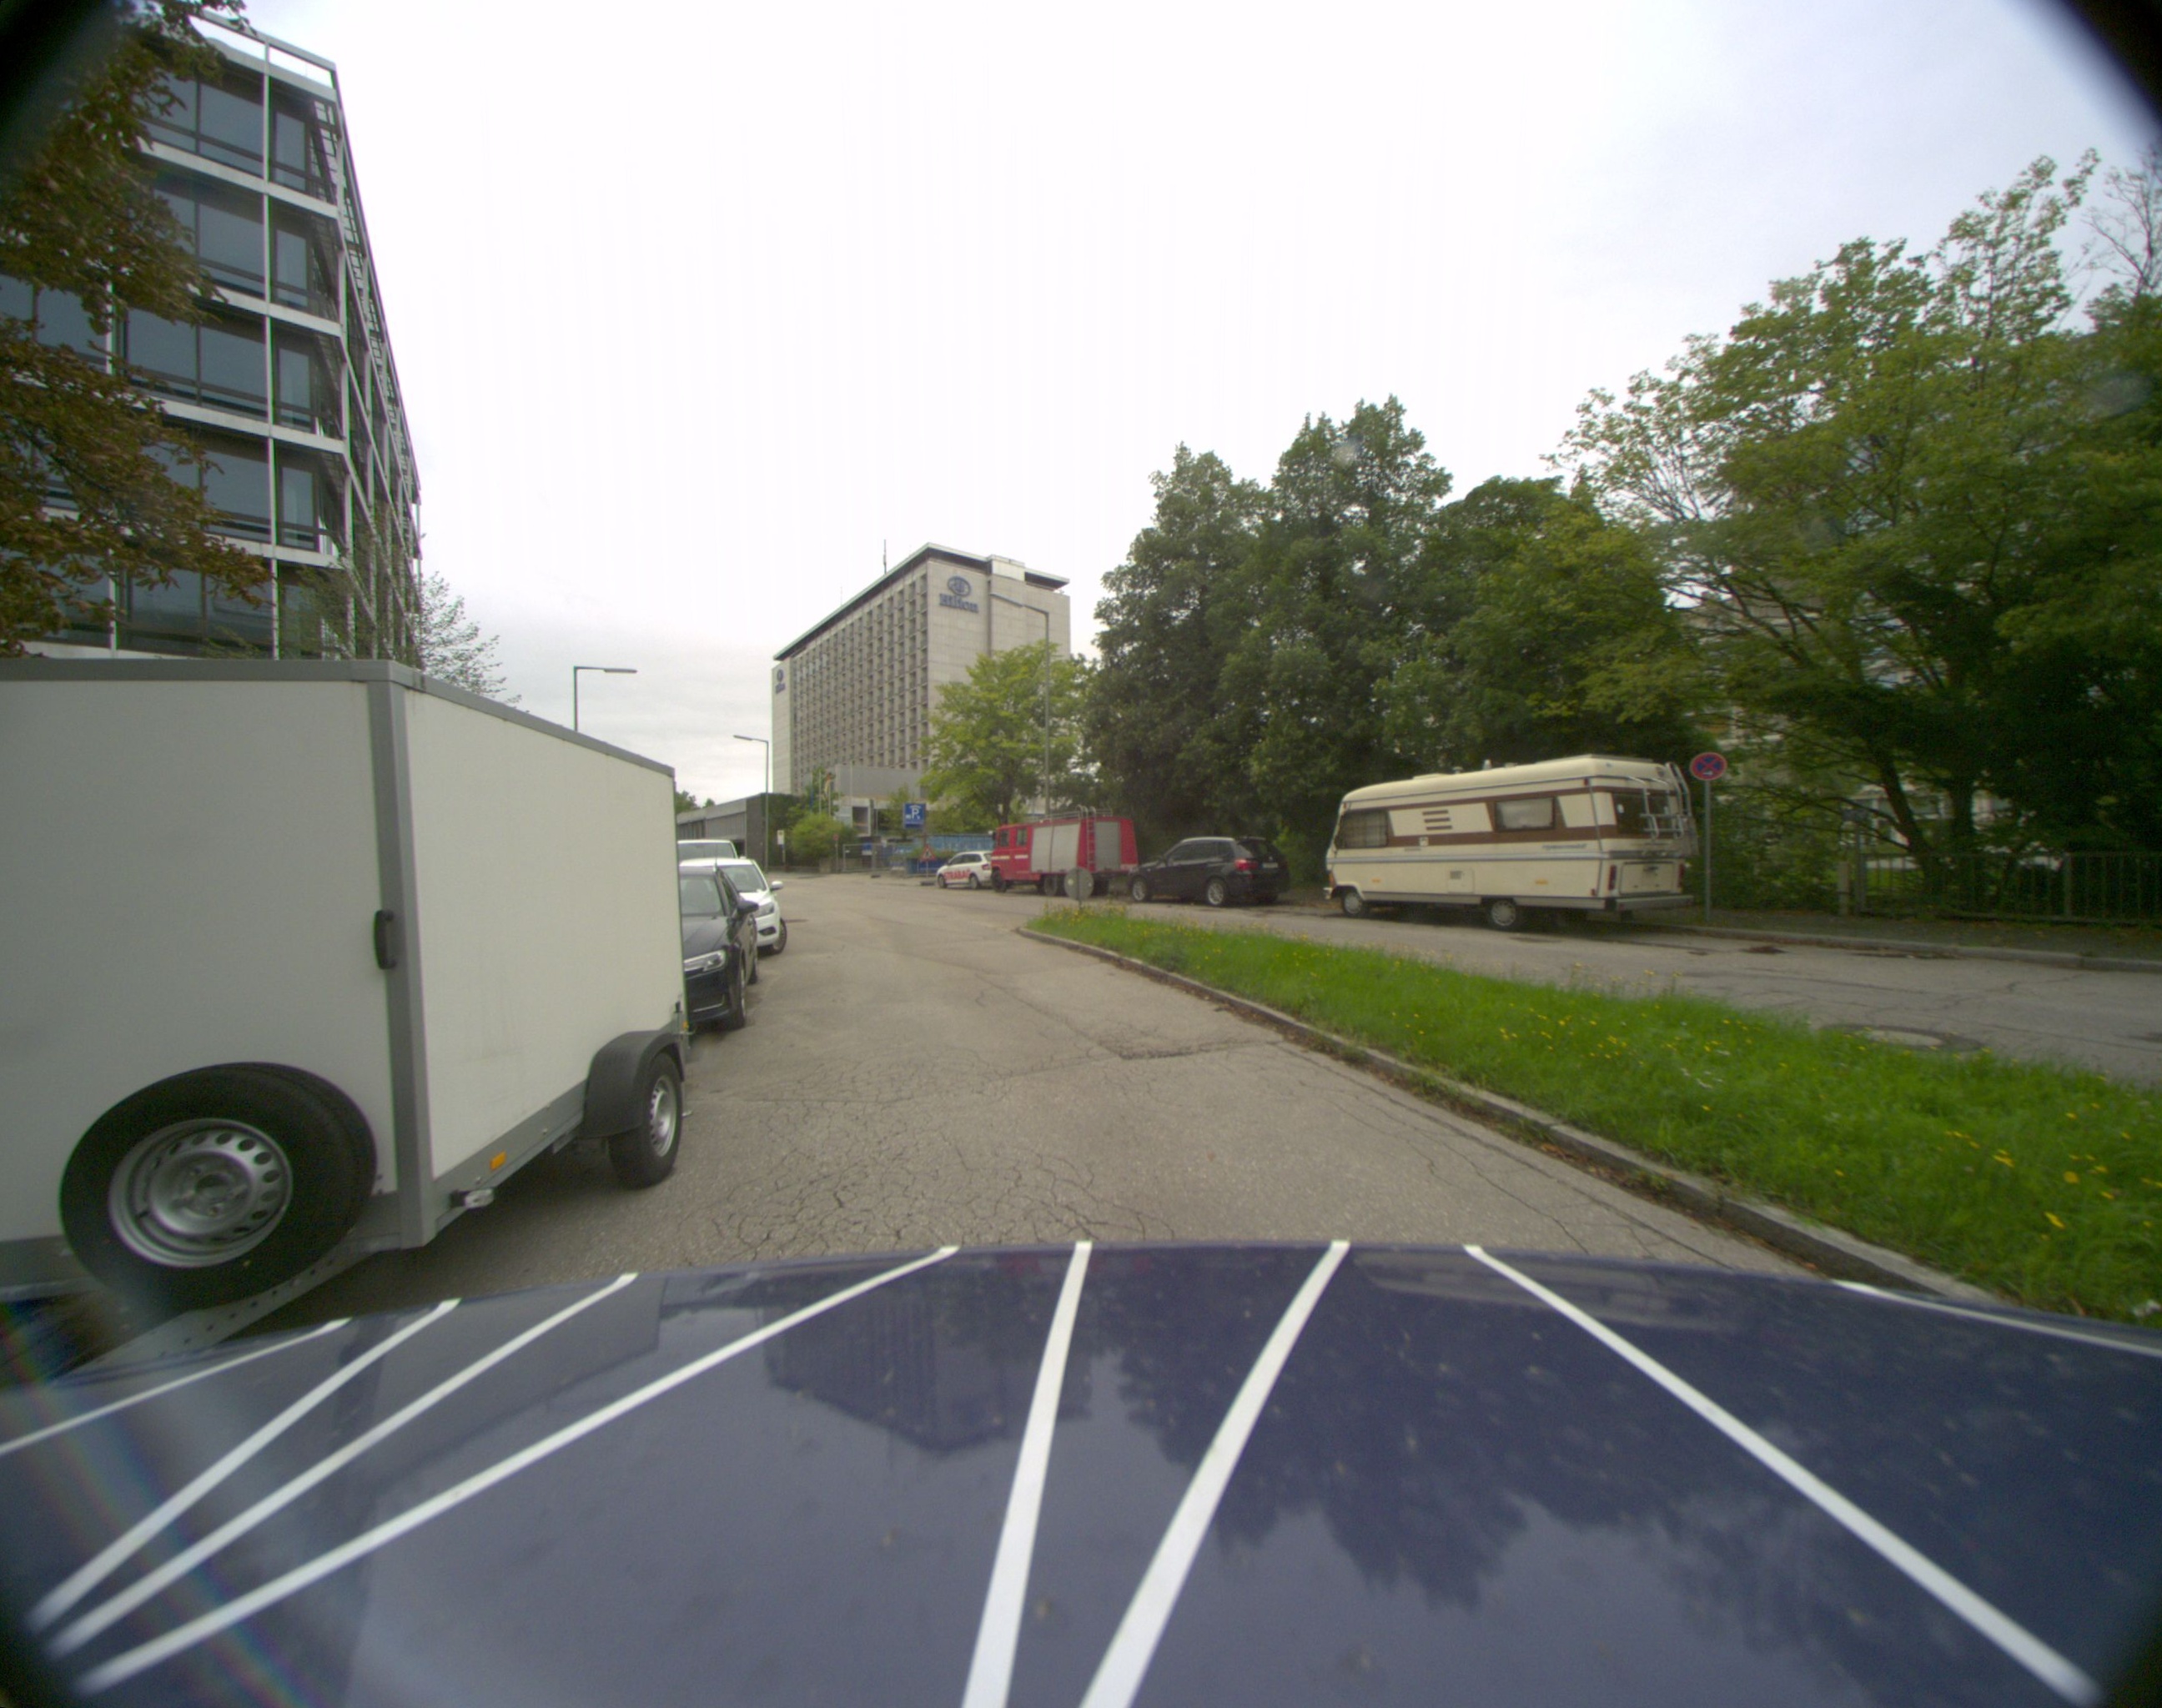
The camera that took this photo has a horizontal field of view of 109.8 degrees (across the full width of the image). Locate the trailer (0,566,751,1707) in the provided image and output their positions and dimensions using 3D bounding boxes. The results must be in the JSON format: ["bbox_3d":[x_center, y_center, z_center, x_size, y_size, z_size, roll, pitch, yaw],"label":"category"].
[{"bbox_3d":[-2.678,0.579,2.473,1.815,2.002,4.829,-1,1,-10],"label":"trailer"}]

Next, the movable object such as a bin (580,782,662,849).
[{"bbox_3d":[-28.223,-2.169,46.371,3.258,3.695,8.982,-1,1,-37],"label":"movable object such as a bin"}]

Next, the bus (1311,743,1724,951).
[{"bbox_3d":[6.864,-0.109,12.890,2.326,2.683,5.721,-1,1,-27],"label":"bus"}]

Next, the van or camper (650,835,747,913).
[{"bbox_3d":[-11.373,0.476,22.383,2.003,2.002,5.362,-1,1,-32],"label":"van or camper"}]

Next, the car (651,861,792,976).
[{"bbox_3d":[-5.902,0.891,12.590,1.774,1.477,4.212,-1,1,-25],"label":"car"}]

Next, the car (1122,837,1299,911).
[{"bbox_3d":[3.121,0.429,19.190,1.785,1.640,4.448,-1,1,-35],"label":"car"}]

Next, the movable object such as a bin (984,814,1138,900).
[{"bbox_3d":[-0.864,0.069,24.911,2.115,2.444,6.170,-1,1,-33],"label":"movable object such as a bin"}]

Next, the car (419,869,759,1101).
[{"bbox_3d":[-4.223,0.909,7.342,1.880,1.428,4.320,0,0,-21],"label":"car"}]

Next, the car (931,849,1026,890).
[{"bbox_3d":[-4.171,0.578,30.535,1.785,1.541,4.245,-1,1,-40],"label":"car"}]

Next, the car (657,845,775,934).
[{"bbox_3d":[-8.400,0.671,17.274,2.003,1.718,4.438,-1,1,-31],"label":"car"}]
